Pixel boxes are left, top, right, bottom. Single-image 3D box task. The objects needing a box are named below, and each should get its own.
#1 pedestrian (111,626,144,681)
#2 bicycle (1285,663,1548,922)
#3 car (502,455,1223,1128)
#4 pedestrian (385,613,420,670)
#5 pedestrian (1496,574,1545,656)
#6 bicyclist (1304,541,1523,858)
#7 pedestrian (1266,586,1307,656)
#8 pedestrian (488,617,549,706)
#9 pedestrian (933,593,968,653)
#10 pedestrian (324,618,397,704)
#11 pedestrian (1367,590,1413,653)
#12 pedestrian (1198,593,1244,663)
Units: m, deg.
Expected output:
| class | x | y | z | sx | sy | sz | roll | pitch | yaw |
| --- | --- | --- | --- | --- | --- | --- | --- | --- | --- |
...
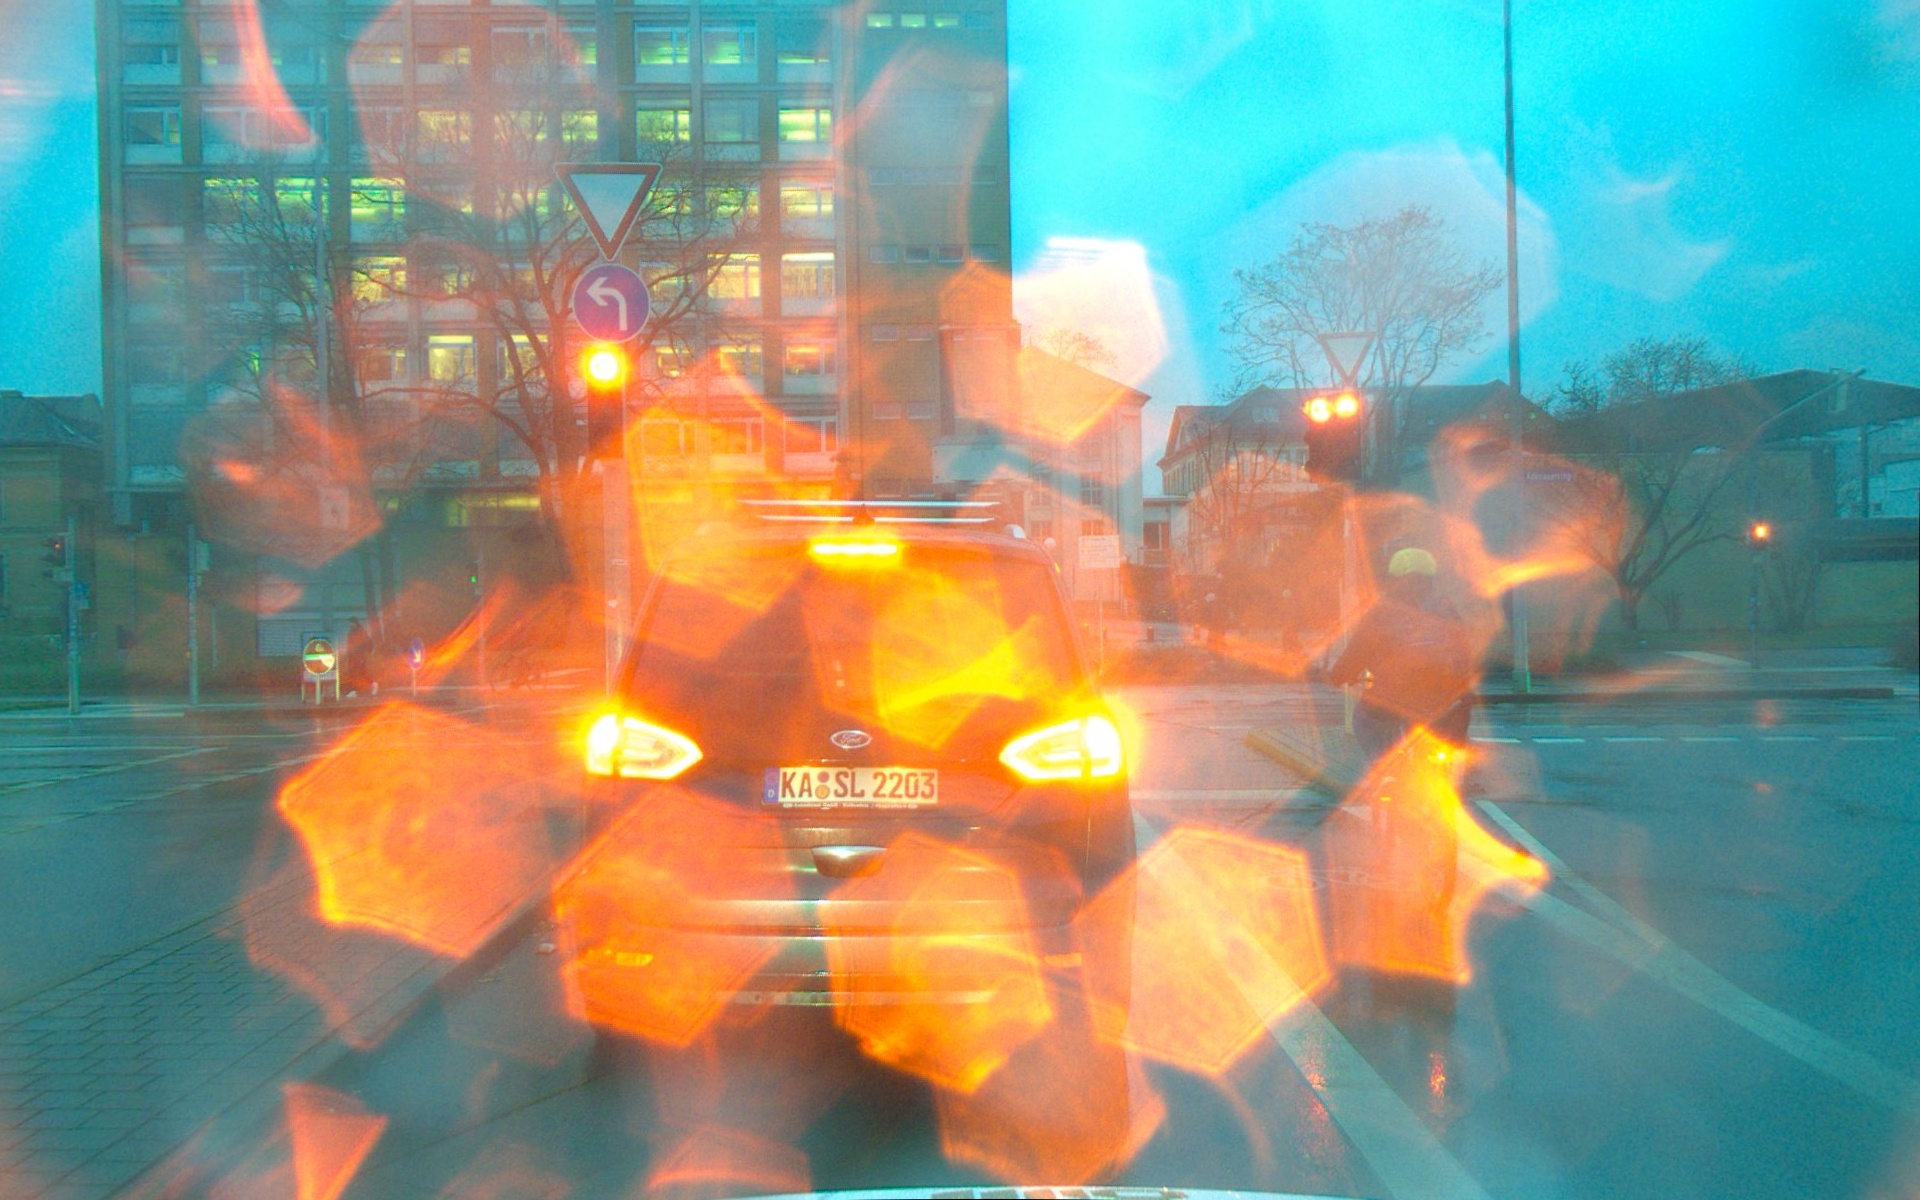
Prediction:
| class | x | y | z | sx | sy | sz | roll | pitch | yaw |
| --- | --- | --- | --- | --- | --- | --- | --- | --- | --- |
| pedestrian | -26.545 | 1.707 | 52.755 | 0.625 | 1.718 | 0.637 | -2 | 0 | 16 |
| bicycle | 2.256 | 0.906 | 8.453 | 0.767 | 1.094 | 1.956 | 1 | 0 | -1 |
| car | -0.291 | 0.538 | 6.553 | 1.953 | 1.821 | 3.999 | 1 | 0 | -1 |
| pedestrian | -16.679 | 1.239 | 49.472 | 0.743 | 1.656 | 0.558 | -2 | 0 | 14 |
| pedestrian | 15.088 | 0.402 | 44.522 | 0.867 | 2.150 | 0.894 | -2 | 0 | -9 |
| bicyclist | 2.251 | 0.469 | 8.341 | 0.767 | 1.478 | 1.133 | 1 | 0 | -1 |
| pedestrian | 8.673 | 0.551 | 43.957 | 0.975 | 1.831 | 0.920 | -2 | 0 | 8 |
| pedestrian | -10.224 | 1.419 | 38.329 | 0.909 | 2.013 | 0.959 | -2 | 0 | 26 |
| pedestrian | -0.265 | 0.646 | 46.914 | 0.748 | 1.656 | 0.717 | -2 | 0 | -21 |
| pedestrian | -13.832 | 1.398 | 38.183 | 0.982 | 1.874 | 1.138 | -1 | 3 | 27 |
| pedestrian | 11.020 | 0.553 | 42.400 | 0.905 | 1.559 | 1.043 | -2 | 0 | 3 |
| pedestrian | 6.754 | 0.711 | 42.716 | 1.111 | 1.750 | 0.982 | -2 | 0 | 10 |
